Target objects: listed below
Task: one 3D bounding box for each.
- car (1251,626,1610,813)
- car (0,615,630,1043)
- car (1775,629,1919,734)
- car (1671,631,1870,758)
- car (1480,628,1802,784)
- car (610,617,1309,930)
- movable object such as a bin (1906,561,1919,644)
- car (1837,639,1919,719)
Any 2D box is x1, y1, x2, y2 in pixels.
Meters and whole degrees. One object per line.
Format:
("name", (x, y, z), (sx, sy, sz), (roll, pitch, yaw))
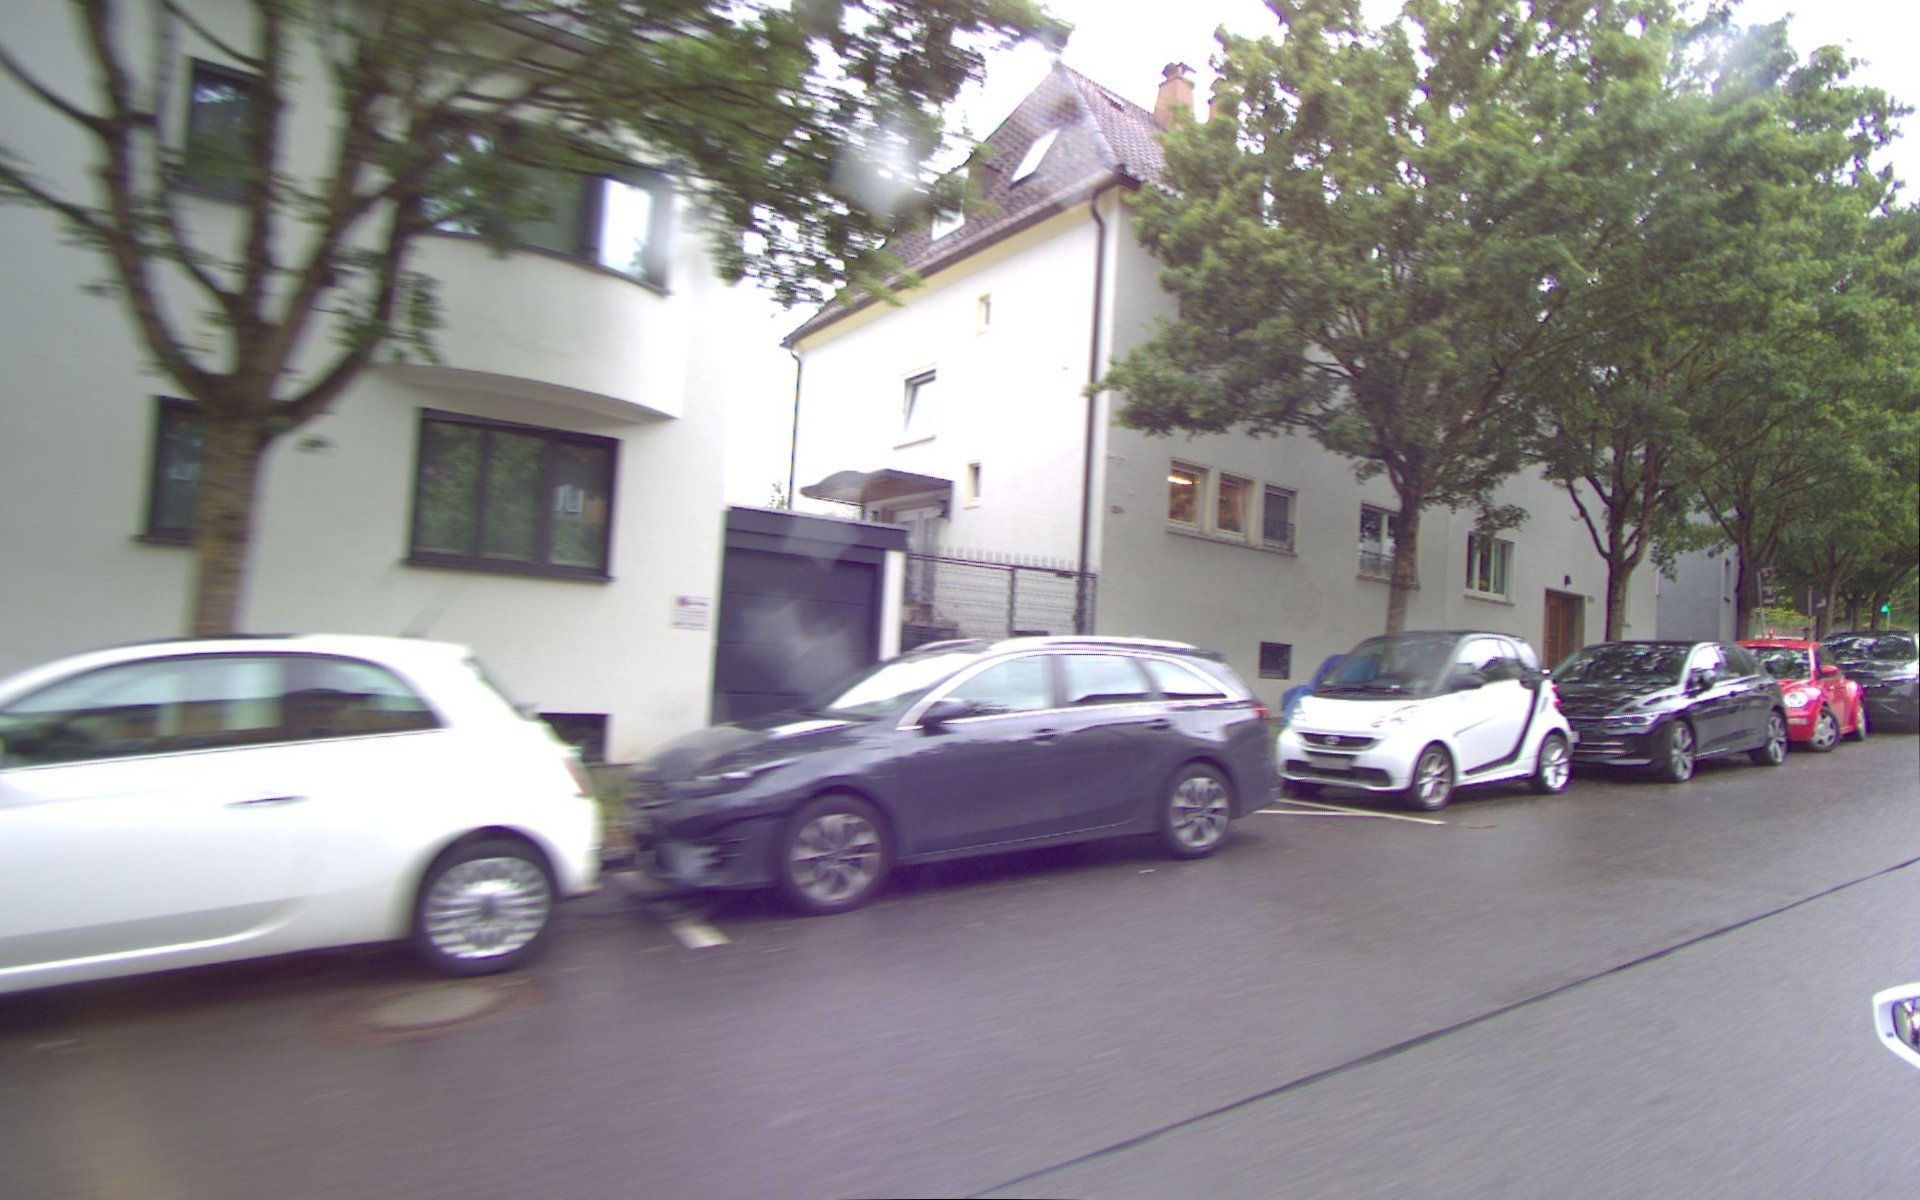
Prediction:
("car", (4.619, 1.100, 9.794), (3.345, 1.530, 1.548), (2, -6, -31))
("car", (-3.388, 0.877, 4.488), (3.427, 1.507, 1.568), (1, -5, -29))
("car", (16.092, 1.370, 17.662), (4.535, 1.629, 1.670), (1, -5, -38))
("car", (11.769, 1.299, 14.515), (3.820, 1.585, 1.618), (4, -4, -41))
("car", (7.869, 1.162, 11.515), (4.054, 1.507, 1.547), (3, -6, -33))
("car", (0.121, 0.977, 6.705), (4.422, 1.507, 1.657), (2, -6, -30))
("movable object such as a bin", (47.834, 0.097, 47.004), (2.774, 4.068, 7.323), (0, -1, 23))
("car", (19.848, 1.581, 20.796), (4.276, 1.528, 1.670), (1, -4, -38))
